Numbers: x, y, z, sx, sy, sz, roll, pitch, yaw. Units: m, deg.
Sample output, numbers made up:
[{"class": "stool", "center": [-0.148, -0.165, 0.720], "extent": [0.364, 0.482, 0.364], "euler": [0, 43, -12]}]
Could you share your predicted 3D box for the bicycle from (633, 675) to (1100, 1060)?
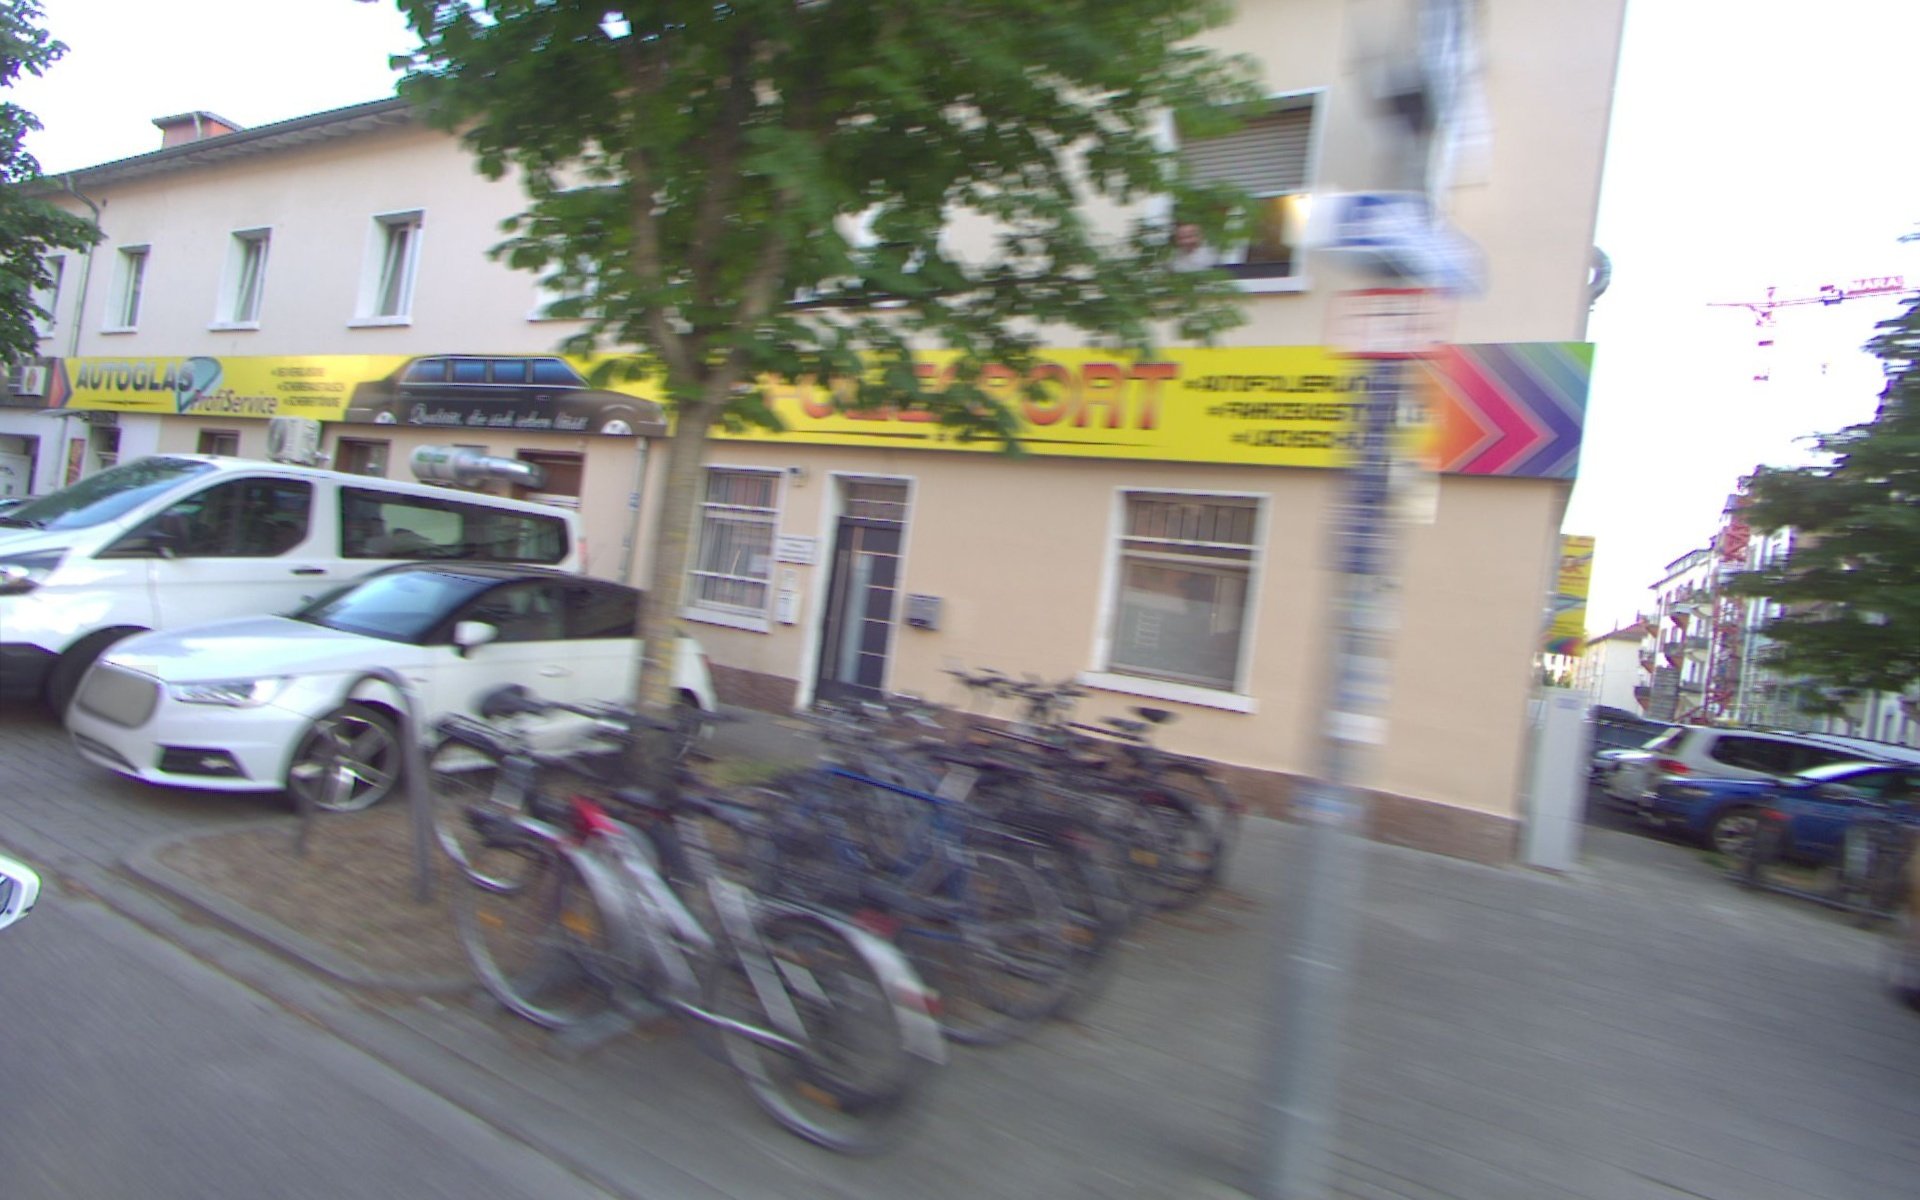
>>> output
[{"class": "bicycle", "center": [-0.423, 0.944, 3.947], "extent": [1.795, 1.036, 0.357], "euler": [7, -1, 27]}]

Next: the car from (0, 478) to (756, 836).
[{"class": "car", "center": [-3.448, 0.427, 6.845], "extent": [1.692, 1.584, 4.045], "euler": [7, -3, 28]}]

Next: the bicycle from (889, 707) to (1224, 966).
[{"class": "bicycle", "center": [0.503, 1.256, 5.654], "extent": [1.754, 1.036, 0.357], "euler": [7, -1, 27]}]

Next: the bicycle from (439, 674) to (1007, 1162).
[{"class": "bicycle", "center": [-0.859, 0.905, 3.311], "extent": [1.937, 1.036, 0.357], "euler": [7, -1, 27]}]

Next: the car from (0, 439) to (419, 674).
[{"class": "car", "center": [-7.917, -0.374, 9.625], "extent": [1.967, 1.881, 4.296], "euler": [8, 1, 31]}]

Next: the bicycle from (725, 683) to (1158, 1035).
[{"class": "bicycle", "center": [-0.129, 1.001, 4.258], "extent": [1.754, 1.036, 0.357], "euler": [7, -1, 27]}]

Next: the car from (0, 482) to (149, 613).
[{"class": "car", "center": [-12.517, -0.756, 12.176], "extent": [1.651, 1.515, 3.792], "euler": [7, 1, 27]}]

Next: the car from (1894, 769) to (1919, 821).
[{"class": "car", "center": [29.648, 6.006, 29.894], "extent": [1.638, 1.469, 3.698], "euler": [7, -2, 27]}]

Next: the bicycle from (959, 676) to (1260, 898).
[{"class": "bicycle", "center": [0.911, 1.132, 6.387], "extent": [1.754, 1.036, 0.357], "euler": [7, -1, 27]}]

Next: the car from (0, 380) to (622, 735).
[{"class": "car", "center": [-5.622, -0.125, 8.325], "extent": [2.116, 2.125, 4.970], "euler": [6, -3, 32]}]

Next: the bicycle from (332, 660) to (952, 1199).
[{"class": "bicycle", "center": [-1.029, 0.872, 2.982], "extent": [1.937, 1.112, 0.357], "euler": [7, -1, 27]}]

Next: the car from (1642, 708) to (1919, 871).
[{"class": "car", "center": [13.058, 2.898, 15.780], "extent": [3.592, 1.821, 1.833], "euler": [7, -1, 31]}]

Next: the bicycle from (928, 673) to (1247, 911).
[{"class": "bicycle", "center": [0.721, 1.082, 5.993], "extent": [1.754, 1.036, 0.357], "euler": [7, -1, 27]}]

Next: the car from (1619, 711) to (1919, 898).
[{"class": "car", "center": [11.581, 2.751, 13.627], "extent": [4.149, 1.821, 1.833], "euler": [7, -1, 31]}]

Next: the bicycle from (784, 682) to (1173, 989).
[{"class": "bicycle", "center": [0.042, 1.040, 4.790], "extent": [1.754, 1.036, 0.357], "euler": [7, -1, 27]}]

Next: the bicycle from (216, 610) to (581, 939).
[{"class": "bicycle", "center": [-2.464, 0.675, 4.336], "extent": [1.754, 1.036, 0.357], "euler": [7, -1, 27]}]

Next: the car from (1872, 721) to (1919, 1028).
[{"class": "car", "center": [5.163, 1.460, 3.787], "extent": [1.775, 1.510, 3.988], "euler": [8, 2, 33]}]

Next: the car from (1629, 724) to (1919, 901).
[{"class": "car", "center": [10.302, 2.529, 12.014], "extent": [3.592, 1.487, 1.833], "euler": [7, -2, 31]}]

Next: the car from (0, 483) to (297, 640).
[{"class": "car", "center": [-10.318, -0.486, 10.965], "extent": [1.965, 1.515, 4.730], "euler": [7, 0, 27]}]

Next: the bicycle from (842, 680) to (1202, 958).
[{"class": "bicycle", "center": [0.280, 1.067, 5.231], "extent": [1.754, 1.036, 0.357], "euler": [7, -1, 27]}]
